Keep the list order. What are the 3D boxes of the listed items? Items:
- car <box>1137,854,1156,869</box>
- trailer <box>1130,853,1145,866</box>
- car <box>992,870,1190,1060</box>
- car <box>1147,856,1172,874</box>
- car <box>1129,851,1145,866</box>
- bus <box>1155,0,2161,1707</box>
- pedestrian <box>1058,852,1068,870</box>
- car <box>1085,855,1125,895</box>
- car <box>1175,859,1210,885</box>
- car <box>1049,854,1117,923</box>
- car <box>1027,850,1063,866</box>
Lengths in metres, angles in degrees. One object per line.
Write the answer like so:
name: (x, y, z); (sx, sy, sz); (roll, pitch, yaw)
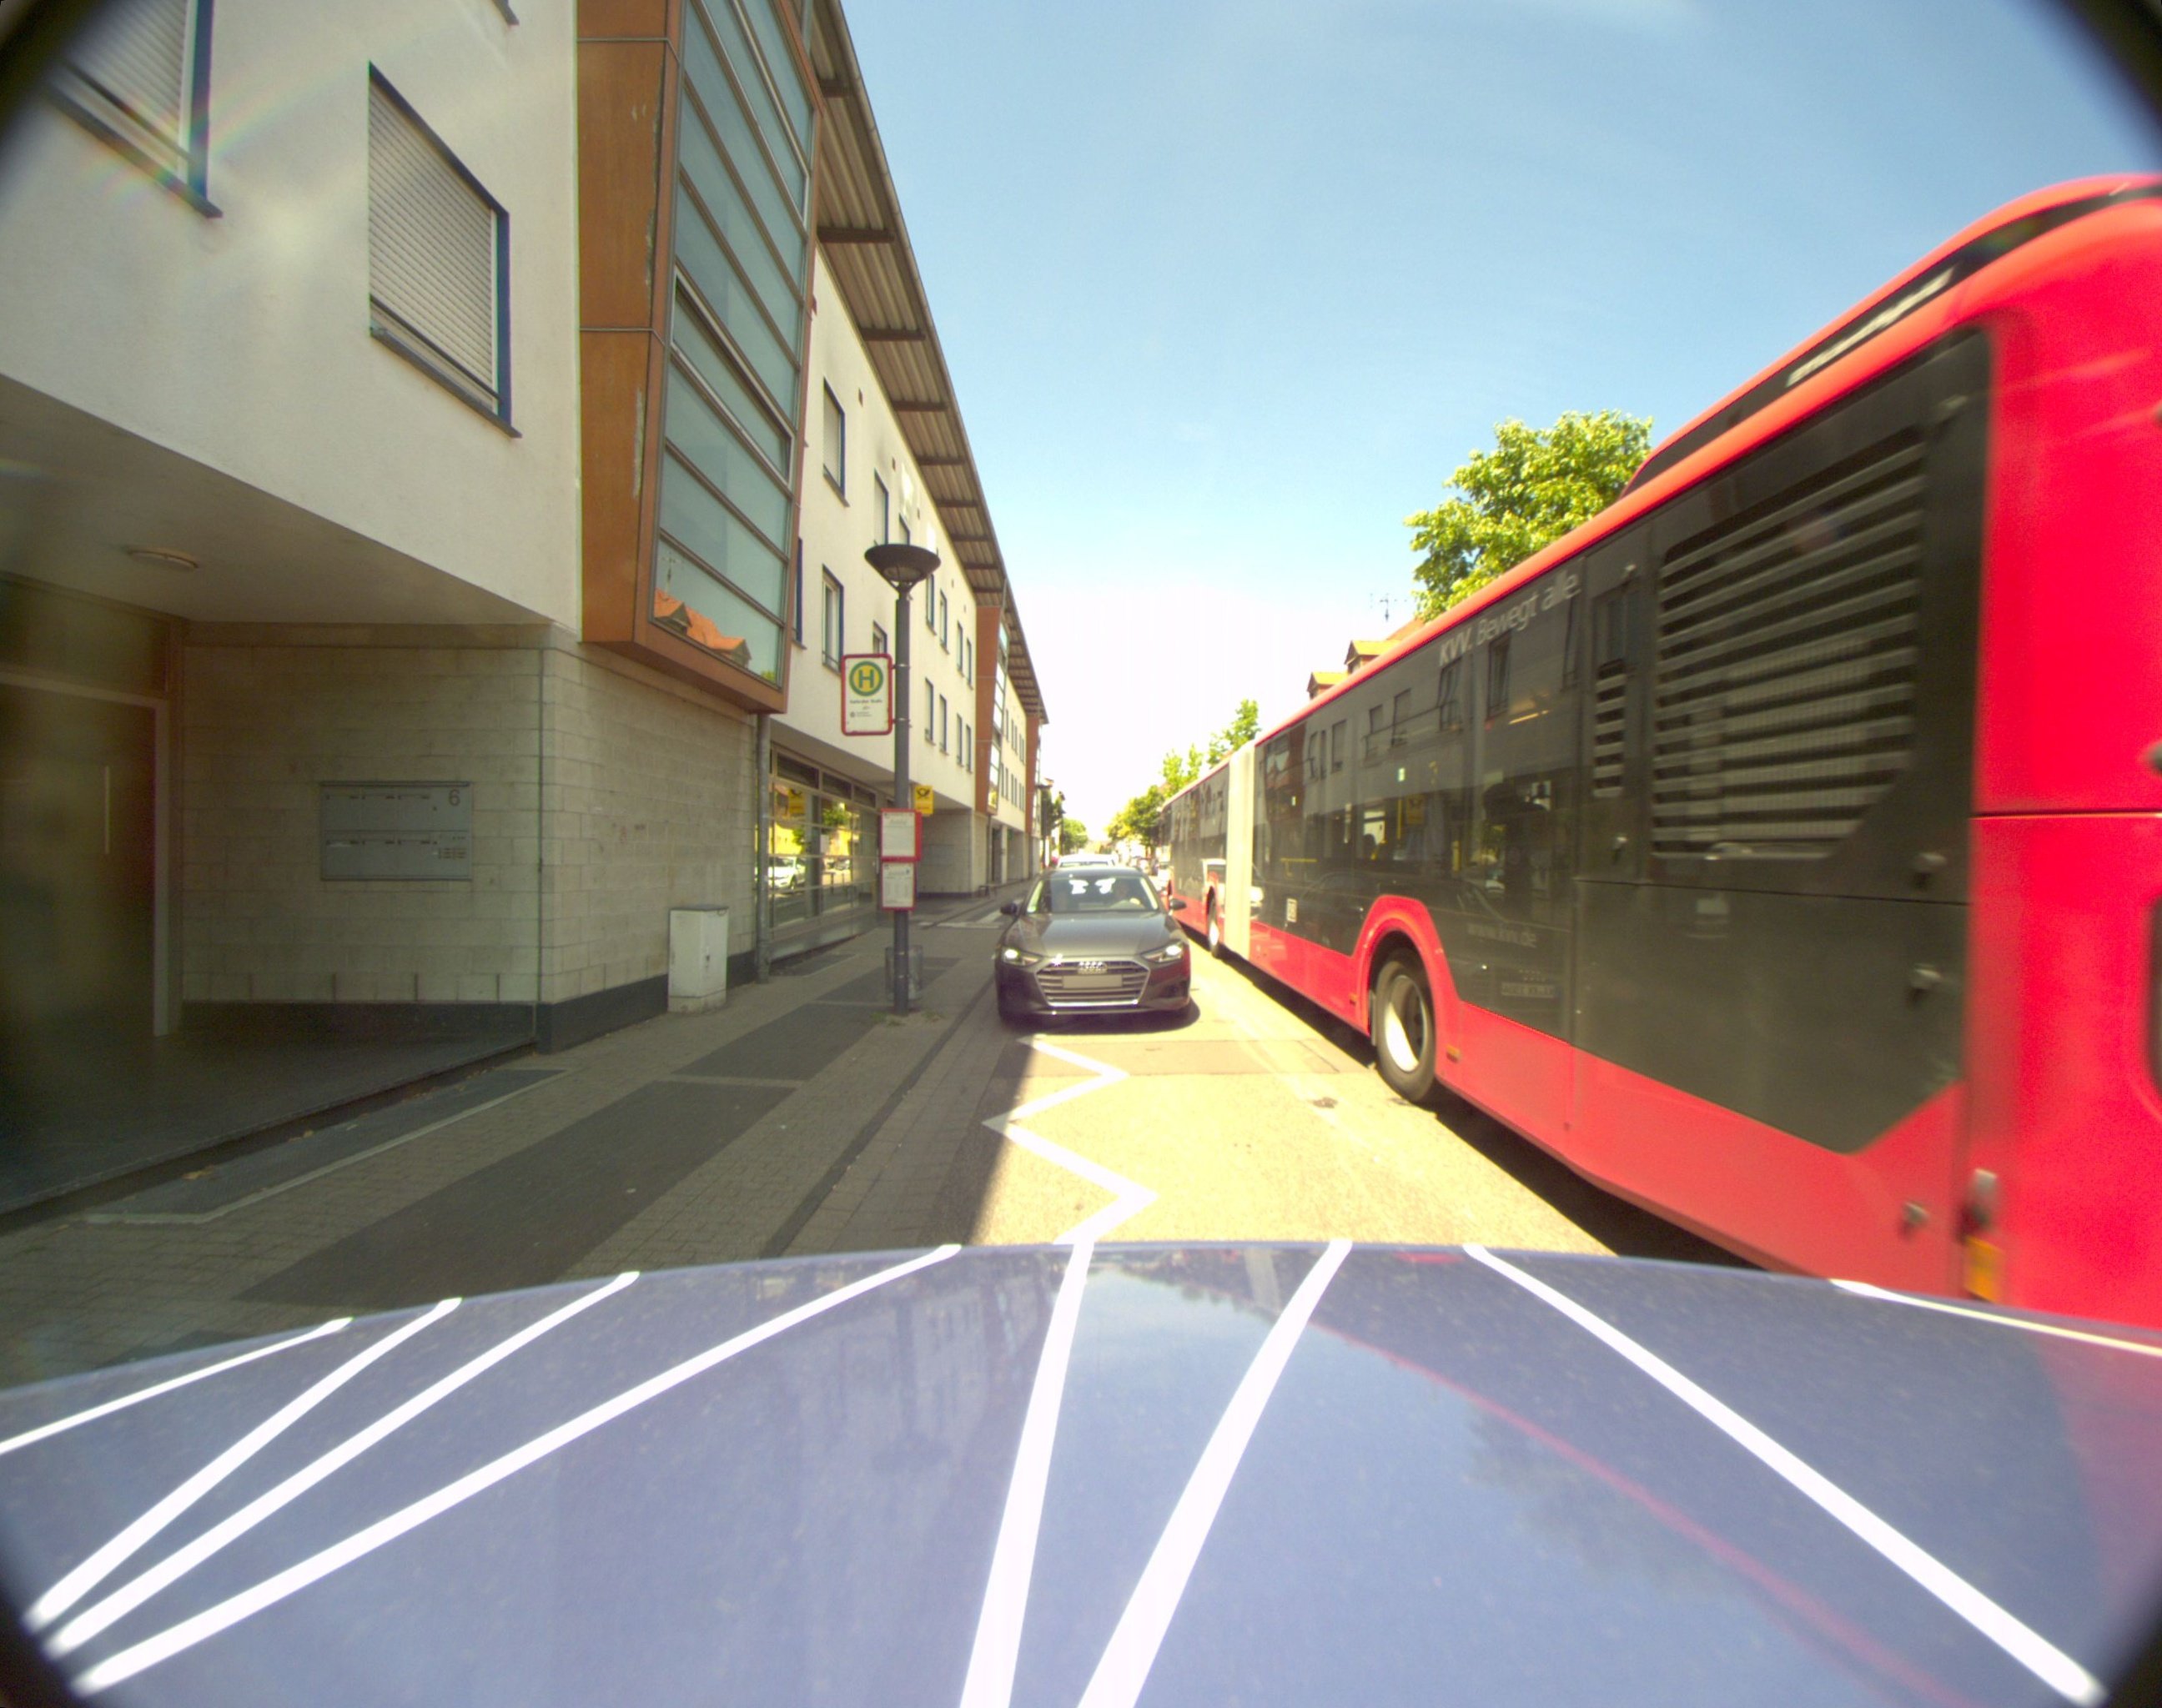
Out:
car: (7.072, 0.781, 81.920); (1.753, 1.566, 4.158); (0, 0, 1)
trailer: (7.022, 0.655, 94.371); (1.493, 1.571, 3.883); (-2, 0, -1)
car: (0.099, 0.944, 8.223); (1.581, 1.424, 4.065); (-2, 0, 0)
car: (6.387, 0.881, 62.262); (1.660, 1.399, 4.158); (0, 0, 1)
car: (7.219, 0.566, 98.659); (1.695, 1.742, 3.999); (-2, 0, -1)
bus: (3.177, 0.104, 10.137); (2.675, 3.105, 17.805); (0, 0, 0)
pedestrian: (-1.697, 0.638, 71.153); (0.825, 1.579, 0.919); (3, 1, 1)
car: (0.997, 0.847, 32.893); (1.581, 1.620, 4.065); (1, 0, 0)
car: (6.334, 1.000, 43.349); (1.557, 1.422, 3.410); (1, 0, 1)
car: (0.065, 0.808, 20.055); (1.581, 1.620, 4.065); (1, 0, 0)
car: (-4.327, 0.434, 91.091); (4.203, 1.849, 2.000); (1, 0, 0)
